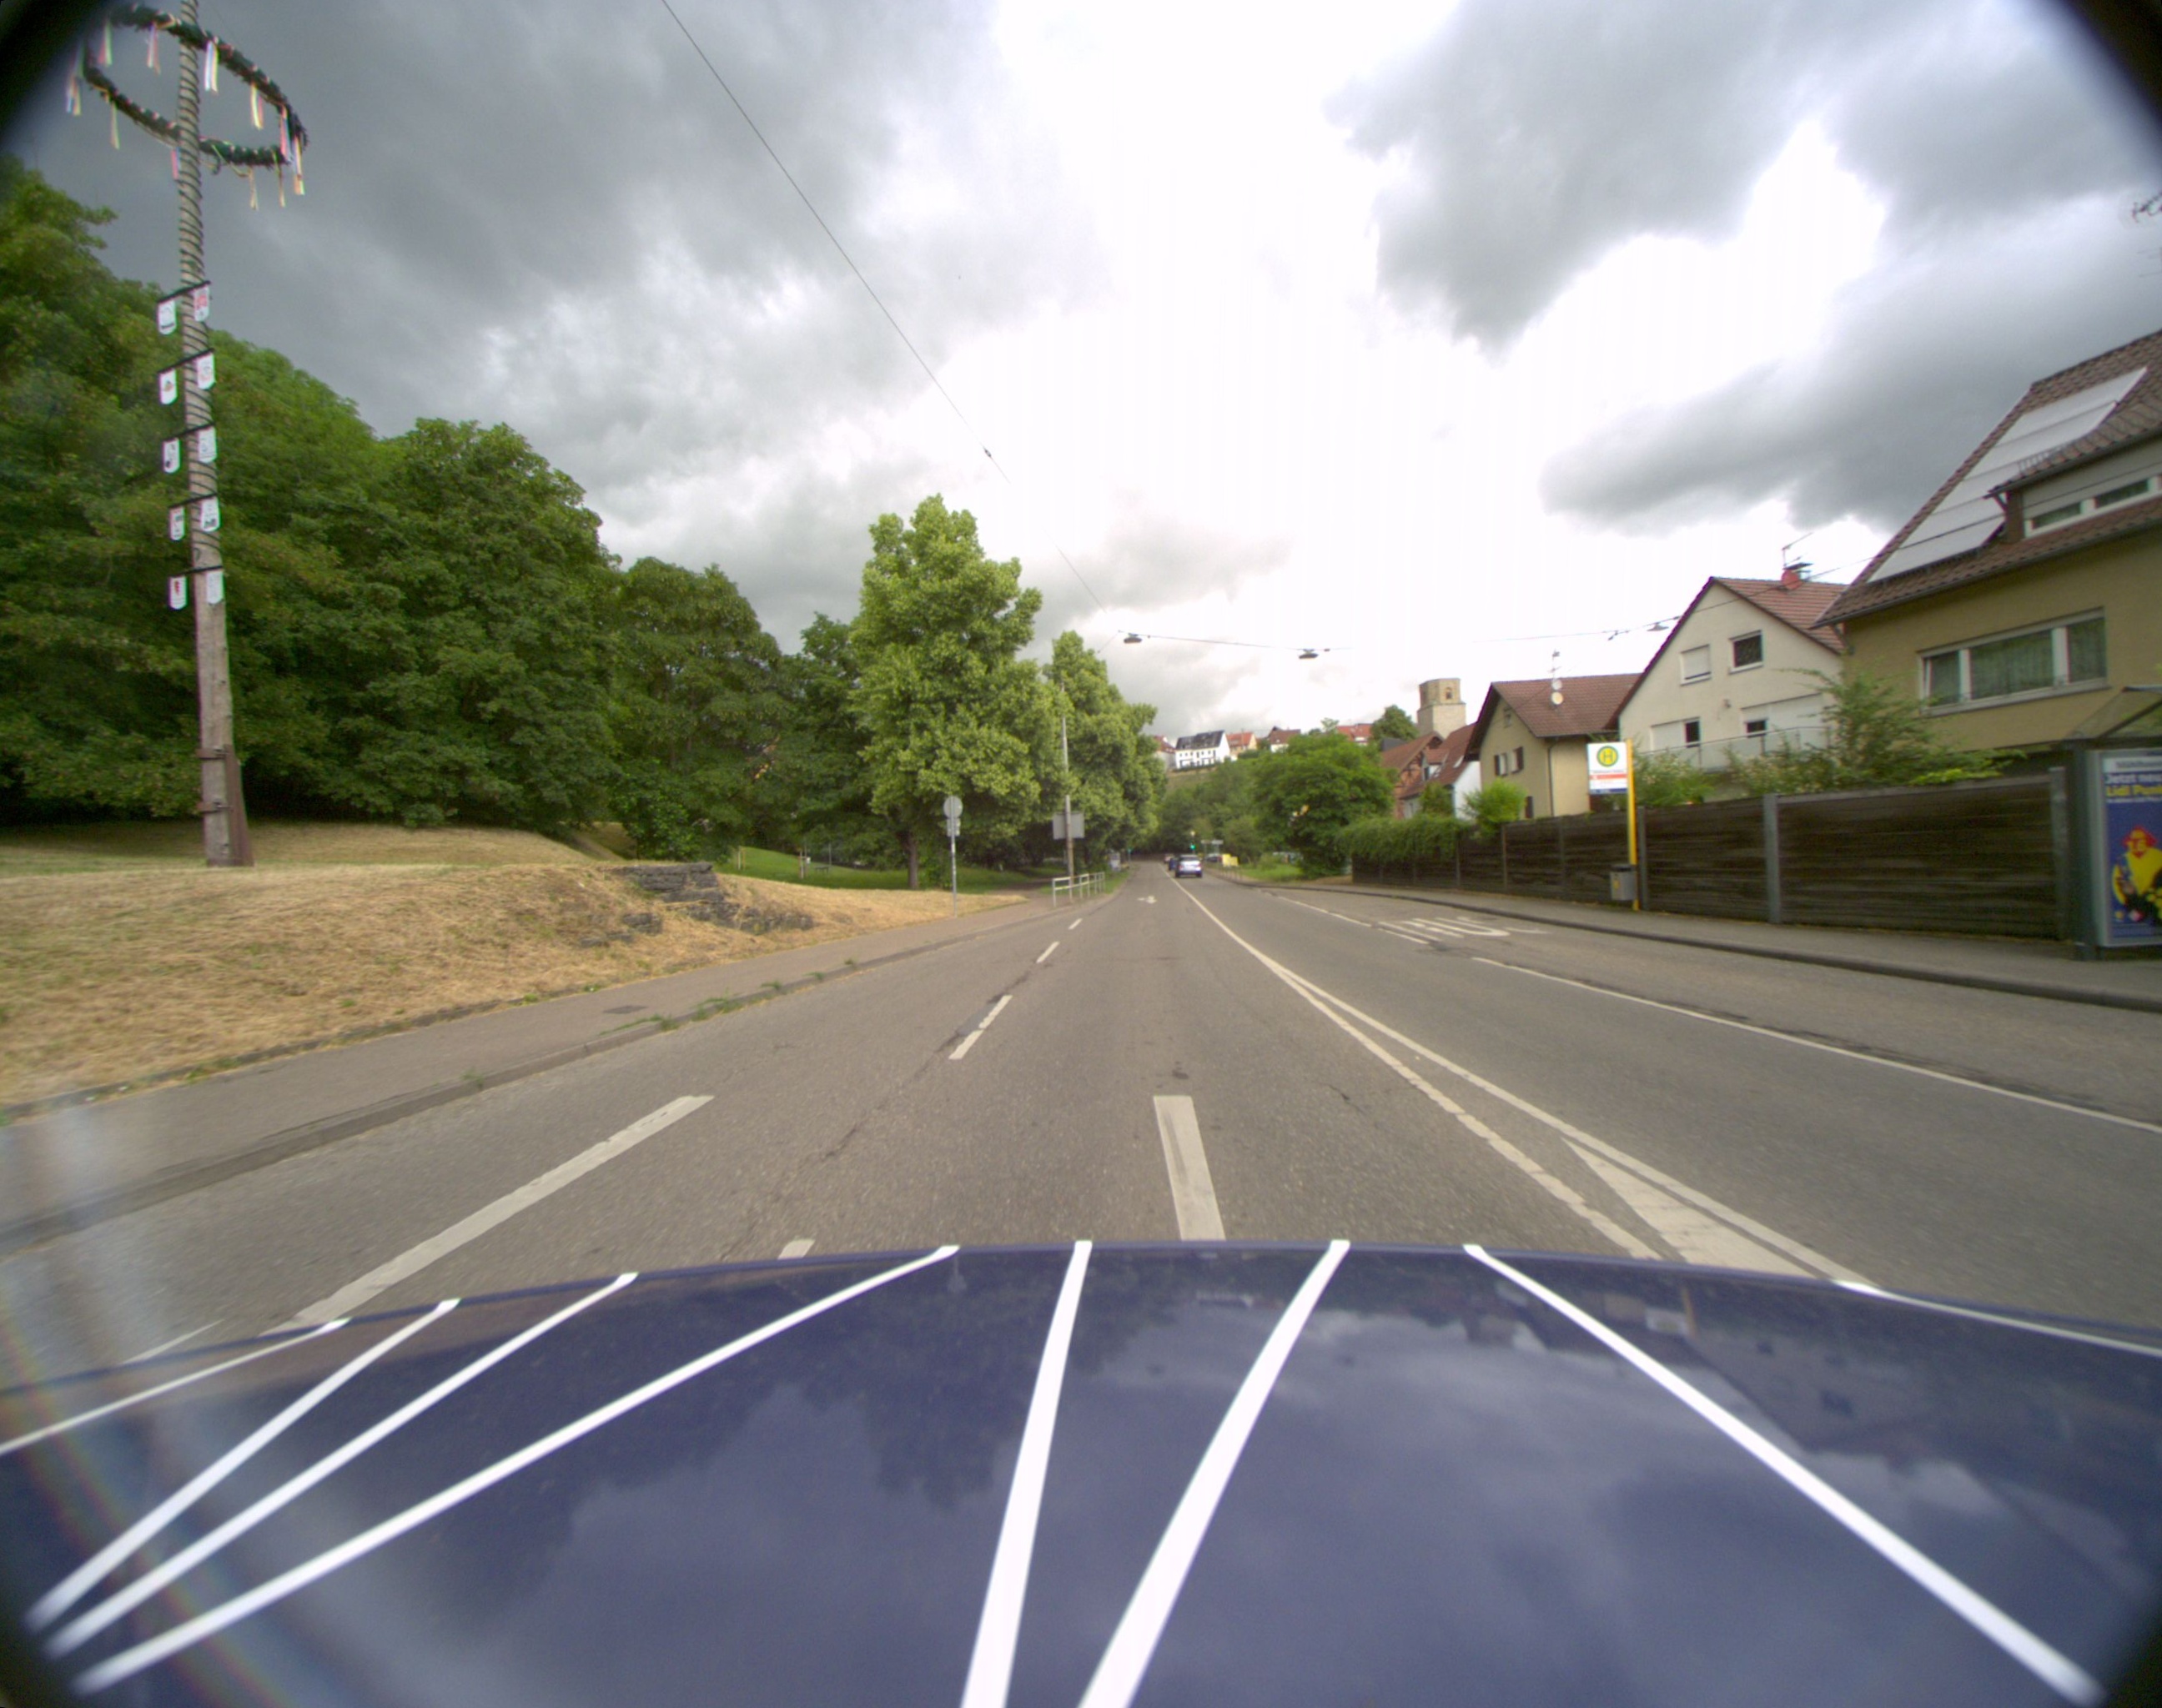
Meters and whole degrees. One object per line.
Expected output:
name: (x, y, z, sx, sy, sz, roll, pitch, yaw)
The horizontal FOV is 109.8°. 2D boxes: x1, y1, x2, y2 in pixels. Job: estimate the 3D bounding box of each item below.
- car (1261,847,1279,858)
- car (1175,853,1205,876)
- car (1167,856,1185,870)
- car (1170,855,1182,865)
car: (24.368, -0.168, 97.999, 1.649, 1.337, 4.153, -1, 0, 5)
car: (8.377, 0.783, 58.678, 1.939, 1.713, 4.694, -1, 0, 4)
car: (10.433, 0.997, 83.452, 1.720, 1.460, 4.101, -1, 0, 4)
car: (15.295, 0.898, 122.381, 1.708, 1.503, 4.002, -1, 0, 5)
